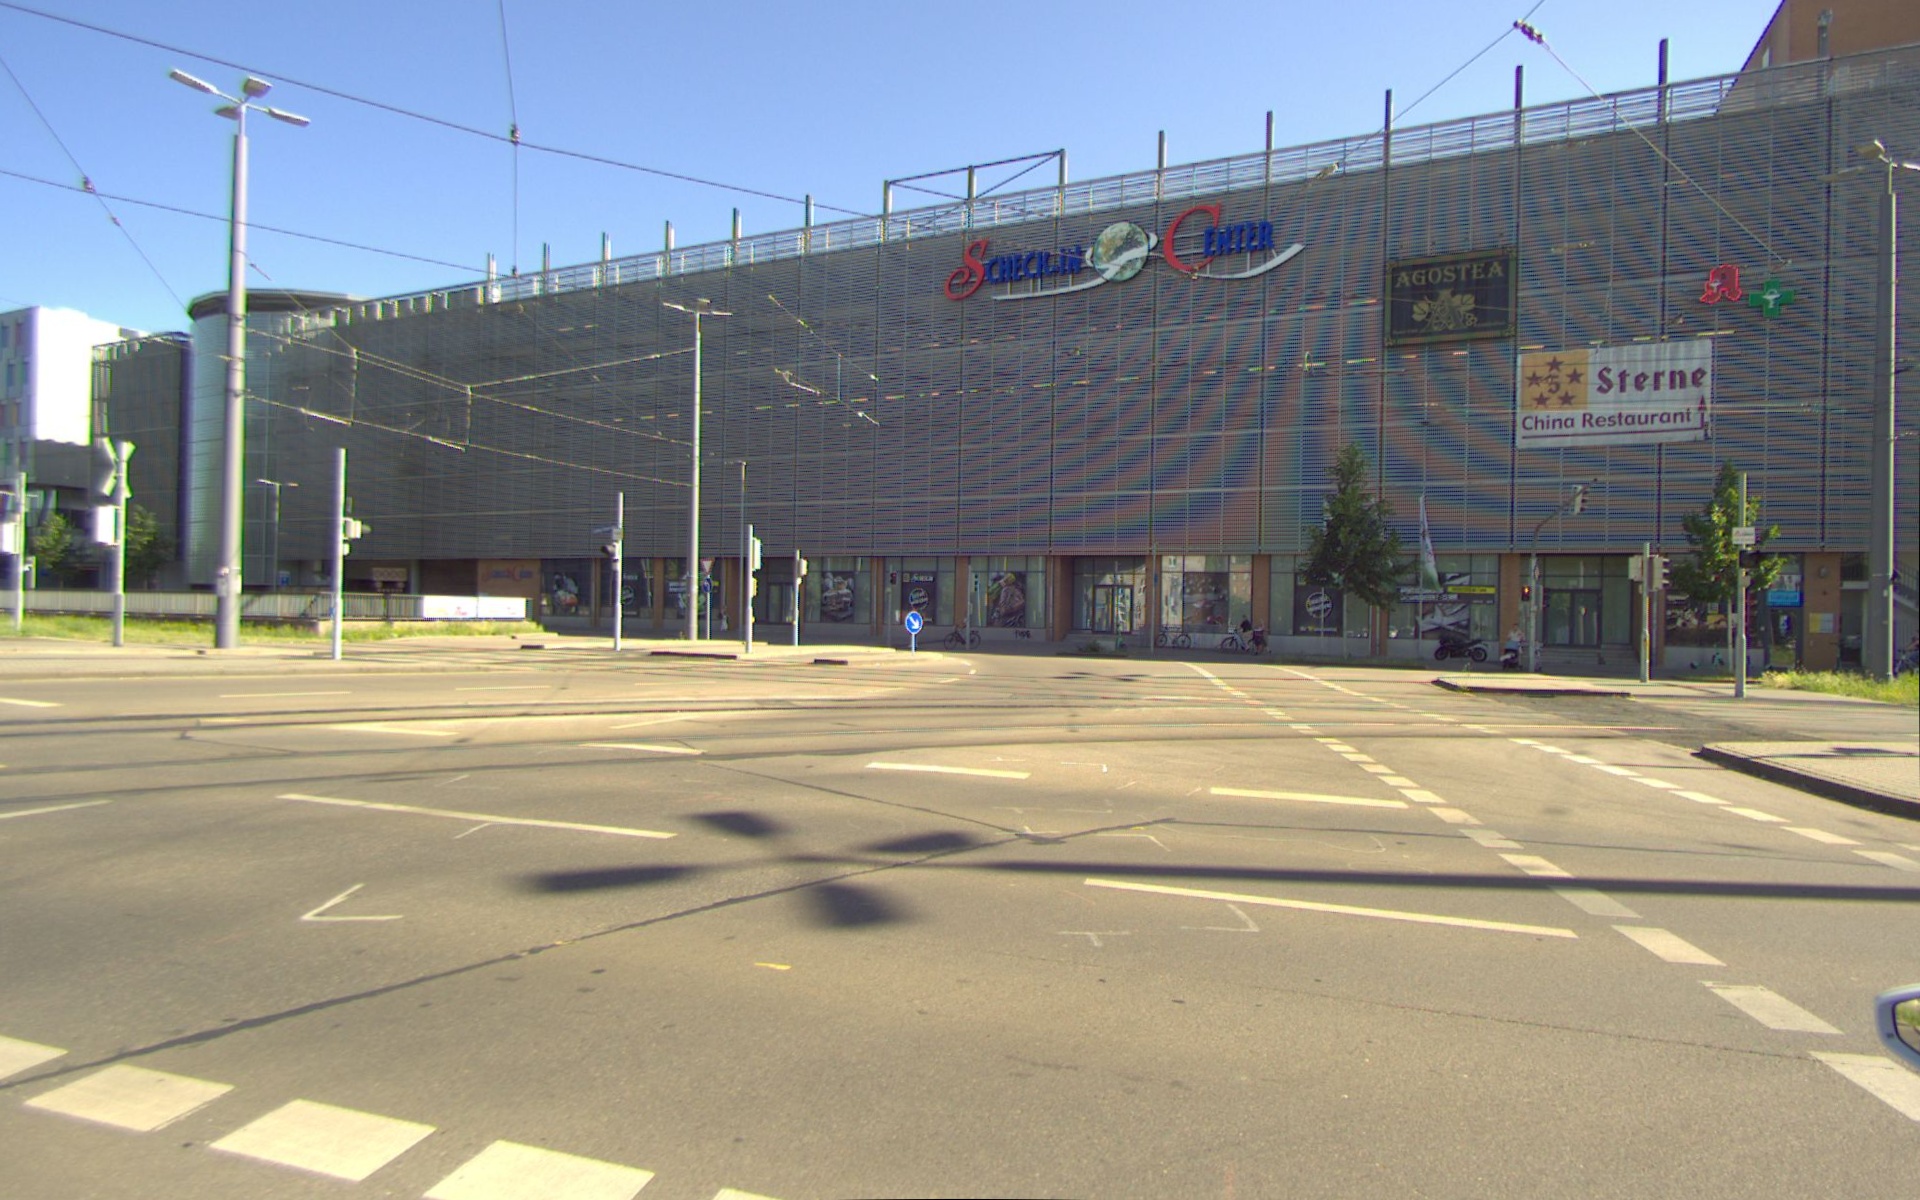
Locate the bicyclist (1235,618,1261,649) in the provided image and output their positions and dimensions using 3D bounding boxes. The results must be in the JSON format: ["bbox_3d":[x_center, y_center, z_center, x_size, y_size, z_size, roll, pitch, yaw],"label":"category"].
[{"bbox_3d":[12.528,1.454,43.669,1.019,1.335,0.682,1,-1,22],"label":"bicyclist"}]

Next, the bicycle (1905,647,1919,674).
[{"bbox_3d":[35.719,2.273,36.934,0.483,0.967,2.181,1,0,17],"label":"bicycle"}]

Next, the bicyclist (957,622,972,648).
[{"bbox_3d":[0.204,1.582,45.142,0.553,1.155,0.559,1,-1,-10],"label":"bicyclist"}]

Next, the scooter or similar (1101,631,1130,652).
[{"bbox_3d":[6.794,1.811,43.988,1.203,0.862,0.301,1,-1,20],"label":"scooter or similar"}]

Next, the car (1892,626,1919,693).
[{"bbox_3d":[26.972,1.561,24.860,5.437,1.674,1.814,1,-1,20],"label":"car"}]

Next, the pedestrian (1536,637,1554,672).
[{"bbox_3d":[21.016,1.955,36.065,0.394,1.245,0.443,2,-1,-42],"label":"pedestrian"}]

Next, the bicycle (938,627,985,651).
[{"bbox_3d":[0.067,1.751,45.111,1.985,0.998,0.559,2,-1,-11],"label":"bicycle"}]

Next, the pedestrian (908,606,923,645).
[{"bbox_3d":[-2.054,1.163,46.286,0.613,1.774,0.589,1,-1,4],"label":"pedestrian"}]

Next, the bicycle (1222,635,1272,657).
[{"bbox_3d":[12.488,1.974,43.694,2.008,0.879,0.682,1,-1,22],"label":"bicycle"}]

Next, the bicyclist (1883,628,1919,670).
[{"bbox_3d":[33.223,1.720,35.083,1.287,1.426,0.593,1,-1,24],"label":"bicyclist"}]

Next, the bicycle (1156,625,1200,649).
[{"bbox_3d":[10.232,1.742,47.166,1.912,1.052,0.573,1,-1,19],"label":"bicycle"}]

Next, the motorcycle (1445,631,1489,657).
[{"bbox_3d":[21.390,1.849,42.395,1.588,1.052,0.401,1,-1,23],"label":"motorcycle"}]

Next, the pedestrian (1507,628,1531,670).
[{"bbox_3d":[20.589,1.781,36.984,0.728,1.506,0.489,1,-1,32],"label":"pedestrian"}]

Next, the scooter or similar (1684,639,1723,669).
[{"bbox_3d":[29.667,2.143,40.095,1.183,1.117,0.277,3,0,25],"label":"scooter or similar"}]

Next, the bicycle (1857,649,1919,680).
[{"bbox_3d":[33.108,2.271,35.132,2.519,1.024,0.598,1,-1,24],"label":"bicycle"}]

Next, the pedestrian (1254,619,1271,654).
[{"bbox_3d":[13.439,1.633,44.652,0.637,1.539,0.490,1,-1,27],"label":"pedestrian"}]

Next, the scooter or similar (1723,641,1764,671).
[{"bbox_3d":[30.968,2.203,39.712,1.183,1.117,0.277,3,0,25],"label":"scooter or similar"}]
